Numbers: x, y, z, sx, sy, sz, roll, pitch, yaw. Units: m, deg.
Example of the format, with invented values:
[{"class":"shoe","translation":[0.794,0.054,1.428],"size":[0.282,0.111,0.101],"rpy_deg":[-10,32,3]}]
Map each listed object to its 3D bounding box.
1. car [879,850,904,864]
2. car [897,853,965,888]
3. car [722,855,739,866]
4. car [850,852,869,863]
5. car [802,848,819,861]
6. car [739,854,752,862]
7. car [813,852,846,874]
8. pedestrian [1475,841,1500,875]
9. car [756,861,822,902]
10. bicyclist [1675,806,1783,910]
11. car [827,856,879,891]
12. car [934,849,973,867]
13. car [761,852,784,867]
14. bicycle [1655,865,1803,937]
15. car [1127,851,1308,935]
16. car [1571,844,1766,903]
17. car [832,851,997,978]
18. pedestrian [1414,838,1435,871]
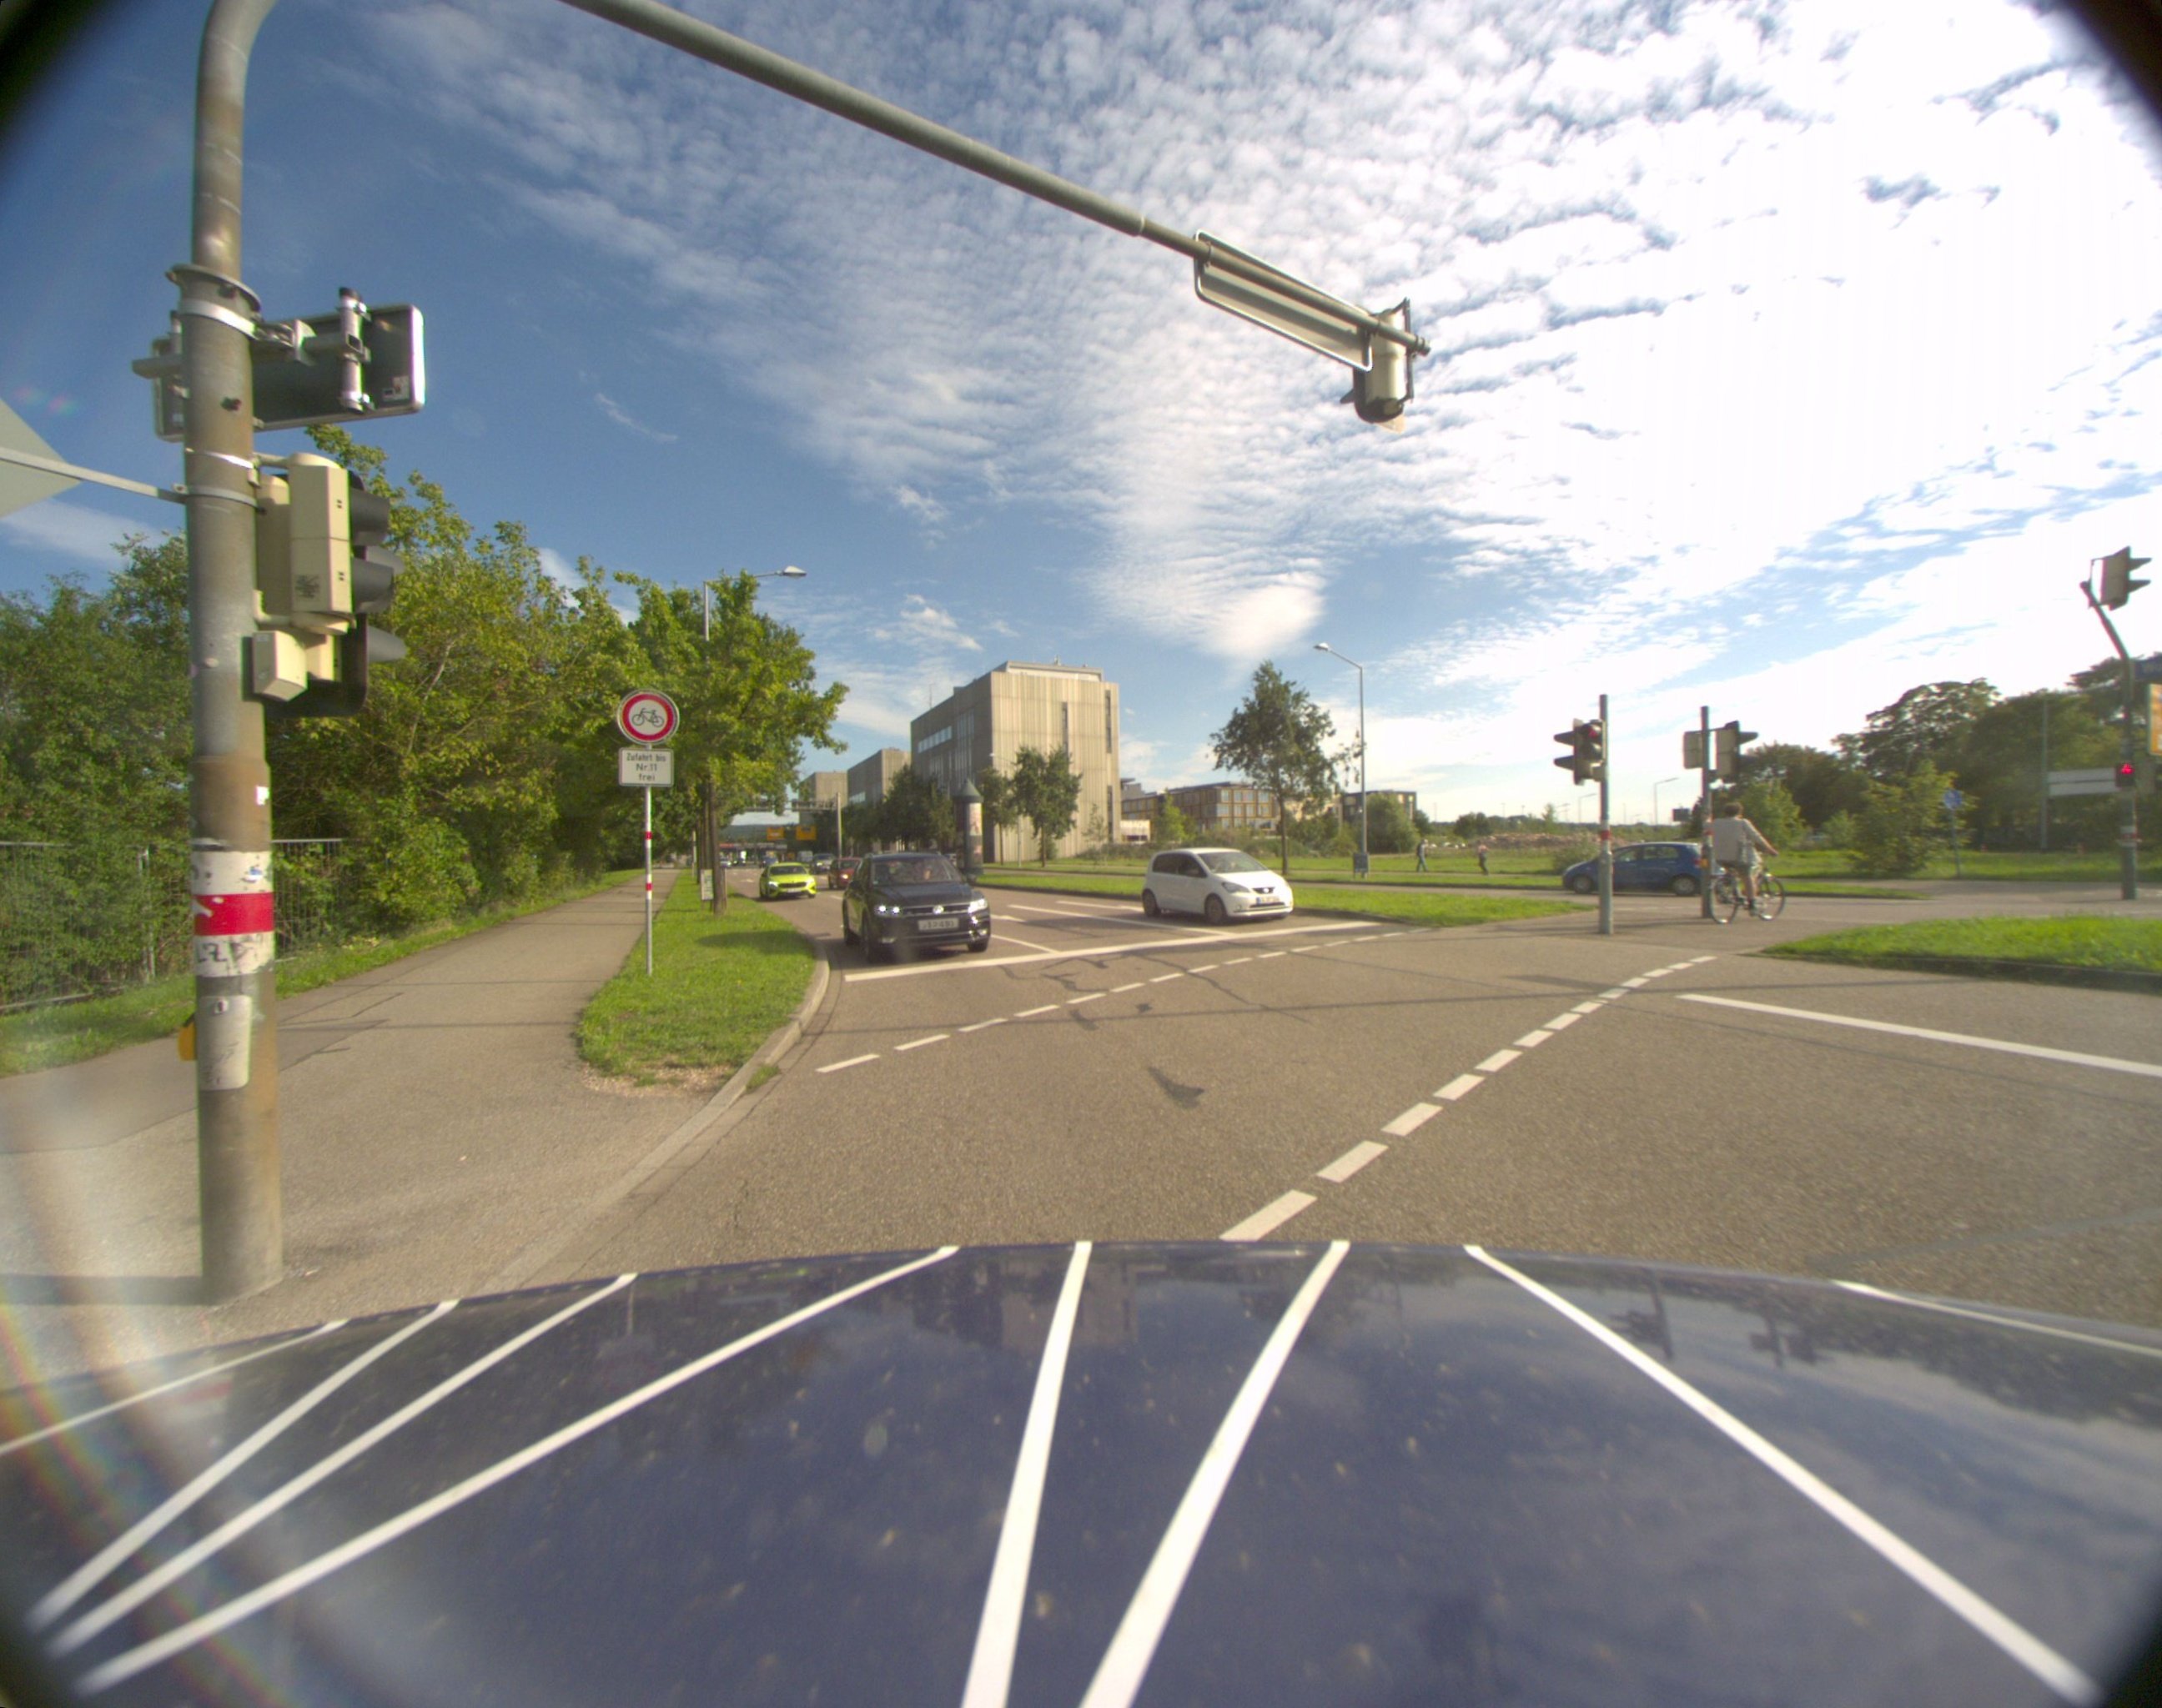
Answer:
[{"class":"car","translation":[-20.156,0.291,80.810],"size":[1.688,1.425,3.582],"rpy_deg":[-1,1,-29]},{"class":"car","translation":[-7.025,0.722,35.206],"size":[1.827,1.412,4.437],"rpy_deg":[-3,1,-28]},{"class":"car","translation":[-46.088,0.779,99.842],"size":[1.740,1.381,3.991],"rpy_deg":[-2,1,-27]},{"class":"car","translation":[-31.077,0.444,106.501],"size":[1.859,1.425,4.059],"rpy_deg":[-2,1,-28]},{"class":"car","translation":[-47.041,0.110,131.965],"size":[2.036,2.241,5.529],"rpy_deg":[0,0,-27]},{"class":"car","translation":[-56.253,0.666,127.270],"size":[1.740,1.381,3.991],"rpy_deg":[-2,1,-27]},{"class":"car","translation":[-19.987,0.670,60.230],"size":[1.697,1.467,4.216],"rpy_deg":[-3,4,-28]},{"class":"pedestrian","translation":[18.353,0.186,34.332],"size":[0.629,1.500,0.755],"rpy_deg":[-5,3,-34]},{"class":"car","translation":[-11.945,1.063,30.869],"size":[1.899,1.412,4.597],"rpy_deg":[-3,2,-28]},{"class":"bicyclist","translation":[10.151,0.046,11.926],"size":[0.867,1.547,0.995],"rpy_deg":[-2,1,-23]},{"class":"car","translation":[-10.982,0.874,36.410],"size":[1.697,1.466,4.218],"rpy_deg":[-3,1,-26]},{"class":"car","translation":[-10.902,0.339,64.777],"size":[1.688,1.425,3.984],"rpy_deg":[-2,1,-34]},{"class":"car","translation":[-36.505,0.663,89.792],"size":[2.003,1.652,4.792],"rpy_deg":[-1,1,-28]},{"class":"bicycle","translation":[10.210,0.702,11.979],"size":[1.963,1.001,1.000],"rpy_deg":[-1,1,-23]},{"class":"car","translation":[2.680,0.699,15.696],"size":[1.769,1.456,3.651],"rpy_deg":[-3,1,-27]},{"class":"car","translation":[16.374,0.506,21.361],"size":[1.787,1.492,3.984],"rpy_deg":[1,-1,-34]},{"class":"car","translation":[-3.080,0.818,13.088],"size":[1.875,1.646,5.005],"rpy_deg":[-3,2,-22]},{"class":"pedestrian","translation":[17.381,0.014,38.468],"size":[0.629,1.620,0.656],"rpy_deg":[-3,2,-25]}]
